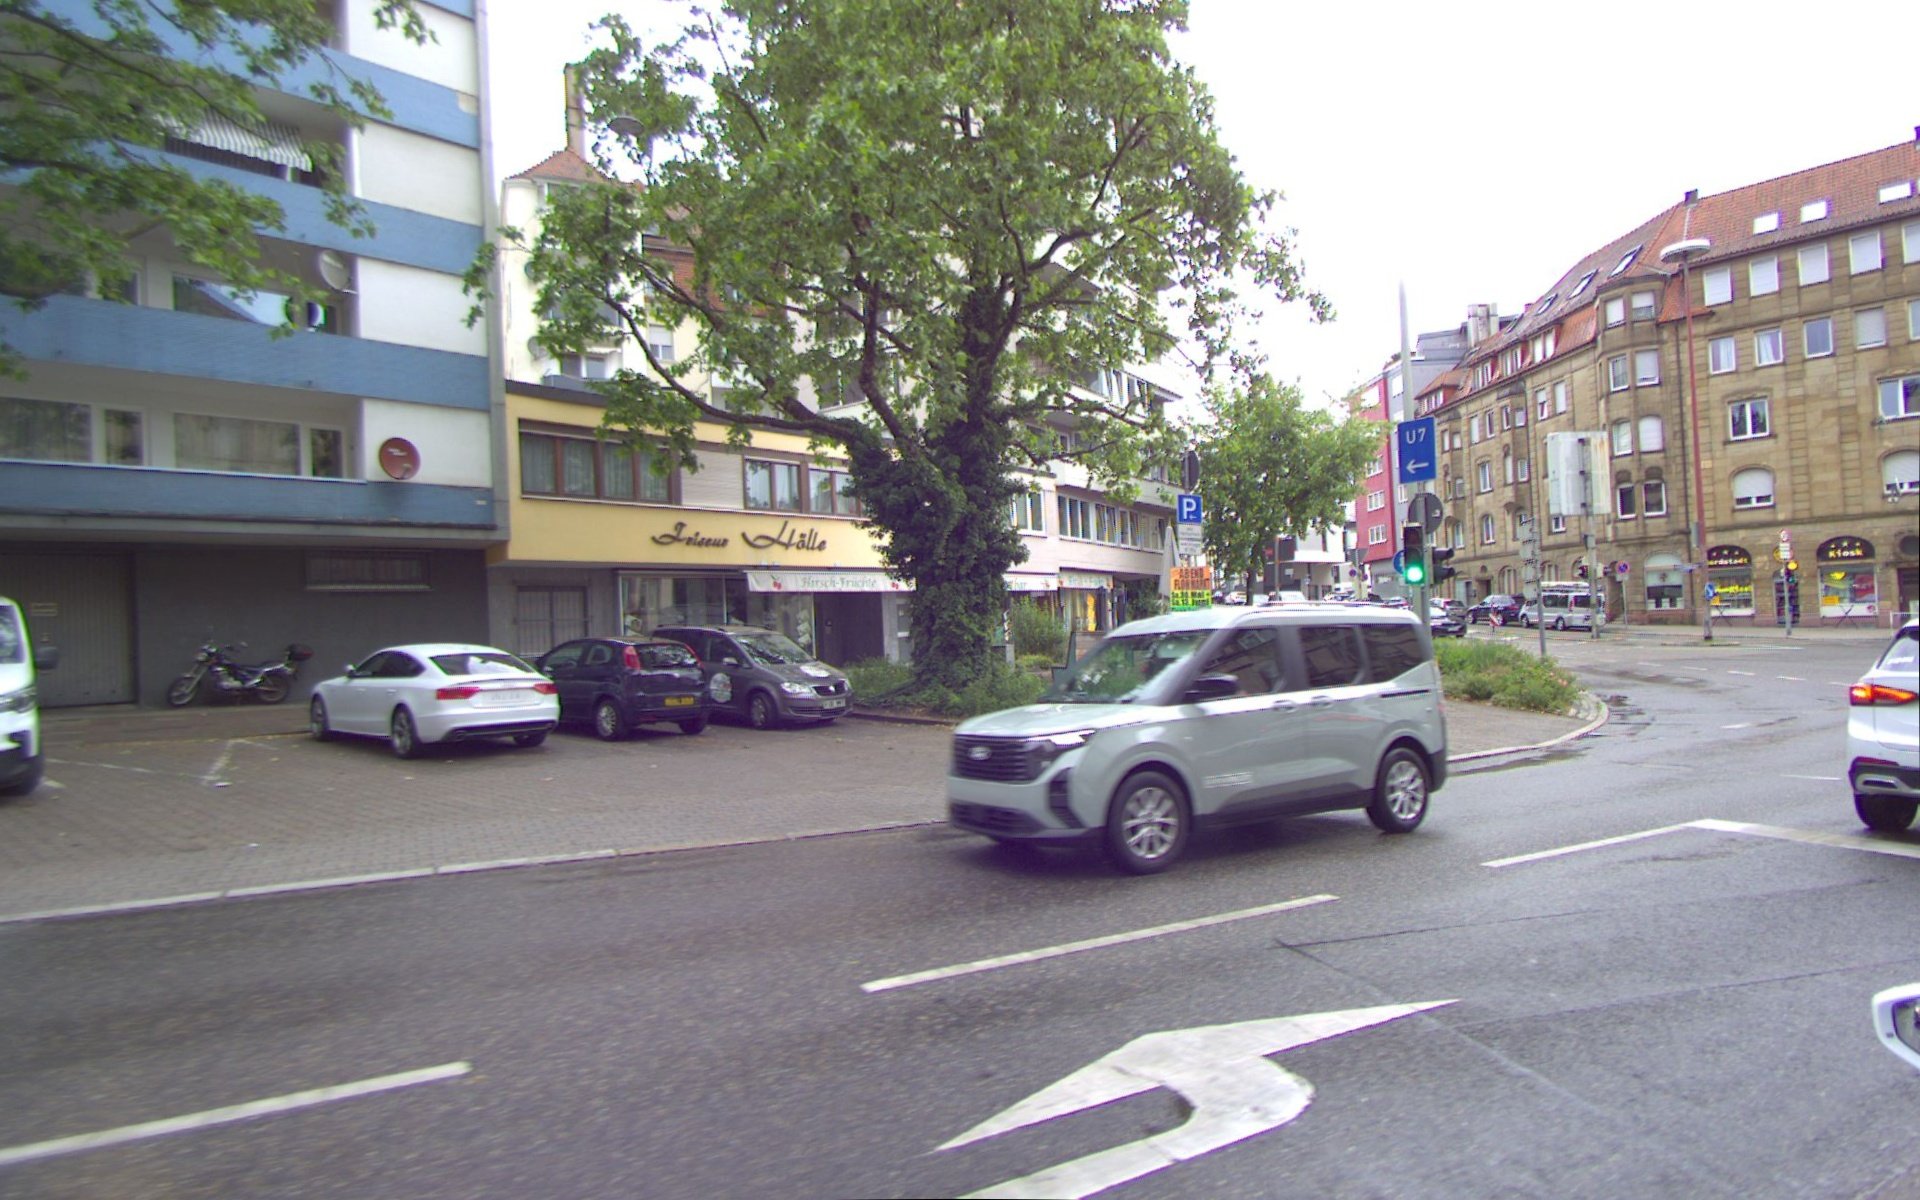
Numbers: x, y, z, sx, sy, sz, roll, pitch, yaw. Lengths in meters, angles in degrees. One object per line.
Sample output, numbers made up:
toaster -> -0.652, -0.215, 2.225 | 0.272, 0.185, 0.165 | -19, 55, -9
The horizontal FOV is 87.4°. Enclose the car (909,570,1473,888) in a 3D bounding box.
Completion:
car -> 1.888, 0.893, 7.930 | 4.193, 1.905, 1.806 | 1, -6, -31

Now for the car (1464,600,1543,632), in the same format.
car -> 30.609, 0.881, 56.738 | 1.961, 1.727, 4.380 | 0, -1, -3

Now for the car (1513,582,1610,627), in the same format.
car -> 30.901, 0.269, 51.769 | 1.961, 2.197, 4.802 | 0, -1, -3

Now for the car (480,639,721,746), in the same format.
car -> -5.594, 1.341, 15.565 | 3.558, 1.434, 1.628 | -1, -2, 31

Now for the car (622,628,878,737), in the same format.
car -> -3.677, 1.338, 17.476 | 4.142, 1.664, 1.937 | -1, -2, 31

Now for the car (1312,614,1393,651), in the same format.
car -> 17.220, 1.403, 44.305 | 1.876, 1.511, 4.393 | -1, -1, 0

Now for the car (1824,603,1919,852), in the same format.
car -> 8.442, 0.875, 7.510 | 4.328, 1.666, 1.743 | 1, -1, -31

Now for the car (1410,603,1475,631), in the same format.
car -> 30.719, 1.095, 64.052 | 1.961, 1.727, 4.214 | 0, -1, -3

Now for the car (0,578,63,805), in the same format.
car -> -10.714, 0.831, 10.084 | 4.902, 2.003, 1.871 | -1, -2, 40

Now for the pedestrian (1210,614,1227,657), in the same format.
pedestrian -> 10.315, 1.422, 40.125 | 0.612, 1.715, 0.620 | -1, 0, 13

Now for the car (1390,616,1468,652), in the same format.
car -> 21.674, 1.523, 46.573 | 1.732, 1.511, 4.024 | -2, -1, 0

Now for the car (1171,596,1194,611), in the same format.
car -> 26.660, 0.424, 120.344 | 1.665, 1.727, 4.214 | 0, -1, -3

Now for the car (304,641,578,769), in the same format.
car -> -7.070, 1.308, 13.619 | 3.643, 1.434, 1.807 | -1, -2, 35

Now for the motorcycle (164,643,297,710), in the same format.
motorcycle -> -13.590, 1.389, 18.738 | 1.946, 1.183, 0.696 | 2, -3, -41

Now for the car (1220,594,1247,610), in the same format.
car -> 30.072, 0.204, 110.629 | 1.665, 1.727, 4.214 | 0, -1, -3

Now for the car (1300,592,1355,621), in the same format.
car -> 21.855, 0.392, 59.900 | 1.704, 1.558, 4.303 | -2, -1, 0

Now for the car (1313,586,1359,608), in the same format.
car -> 30.184, -0.217, 80.799 | 1.961, 1.727, 4.214 | 0, -1, -3

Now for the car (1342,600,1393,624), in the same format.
car -> 30.481, 0.915, 75.272 | 1.961, 1.727, 4.214 | 0, -1, -3

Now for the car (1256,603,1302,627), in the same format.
car -> 21.142, 1.008, 66.698 | 1.704, 1.558, 4.155 | 1, -1, 0
